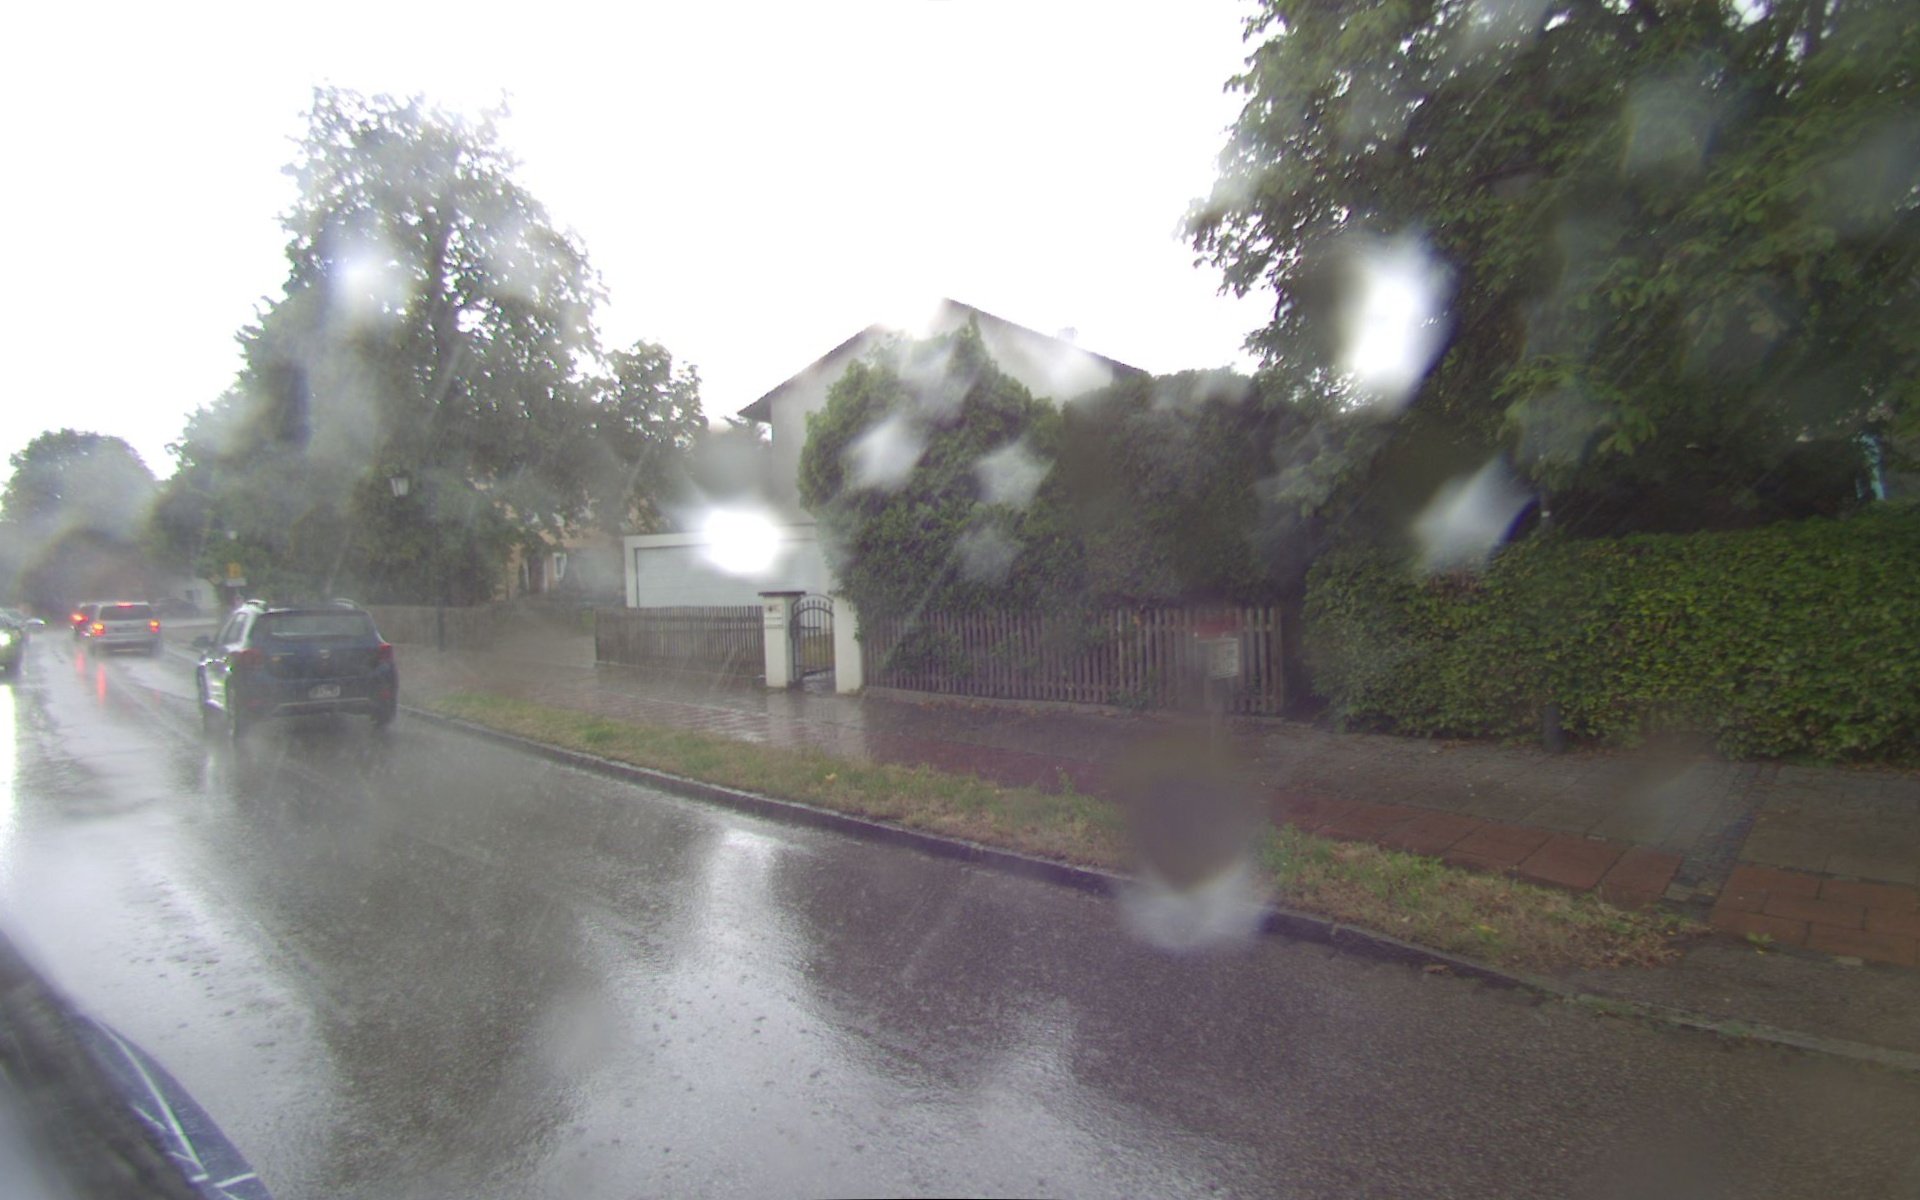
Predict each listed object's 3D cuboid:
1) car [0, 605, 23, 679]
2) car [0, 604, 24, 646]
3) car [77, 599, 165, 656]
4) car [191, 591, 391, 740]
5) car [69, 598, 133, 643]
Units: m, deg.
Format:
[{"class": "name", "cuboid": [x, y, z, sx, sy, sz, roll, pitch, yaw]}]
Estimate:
[{"class": "car", "cuboid": [-24.095, 1.014, 24.584, 1.846, 1.624, 4.967, -4, 3, -43]}, {"class": "car", "cuboid": [-37.518, 0.983, 39.142, 1.846, 1.532, 4.966, -4, 3, -43]}, {"class": "car", "cuboid": [-26.626, 0.857, 32.071, 4.001, 1.690, 1.733, -1, -1, 44]}, {"class": "car", "cuboid": [-8.594, 0.738, 12.884, 1.568, 1.622, 3.542, 0, -1, -43]}, {"class": "car", "cuboid": [-36.020, 0.800, 42.403, 1.899, 1.757, 4.196, -2, 1, -42]}]
